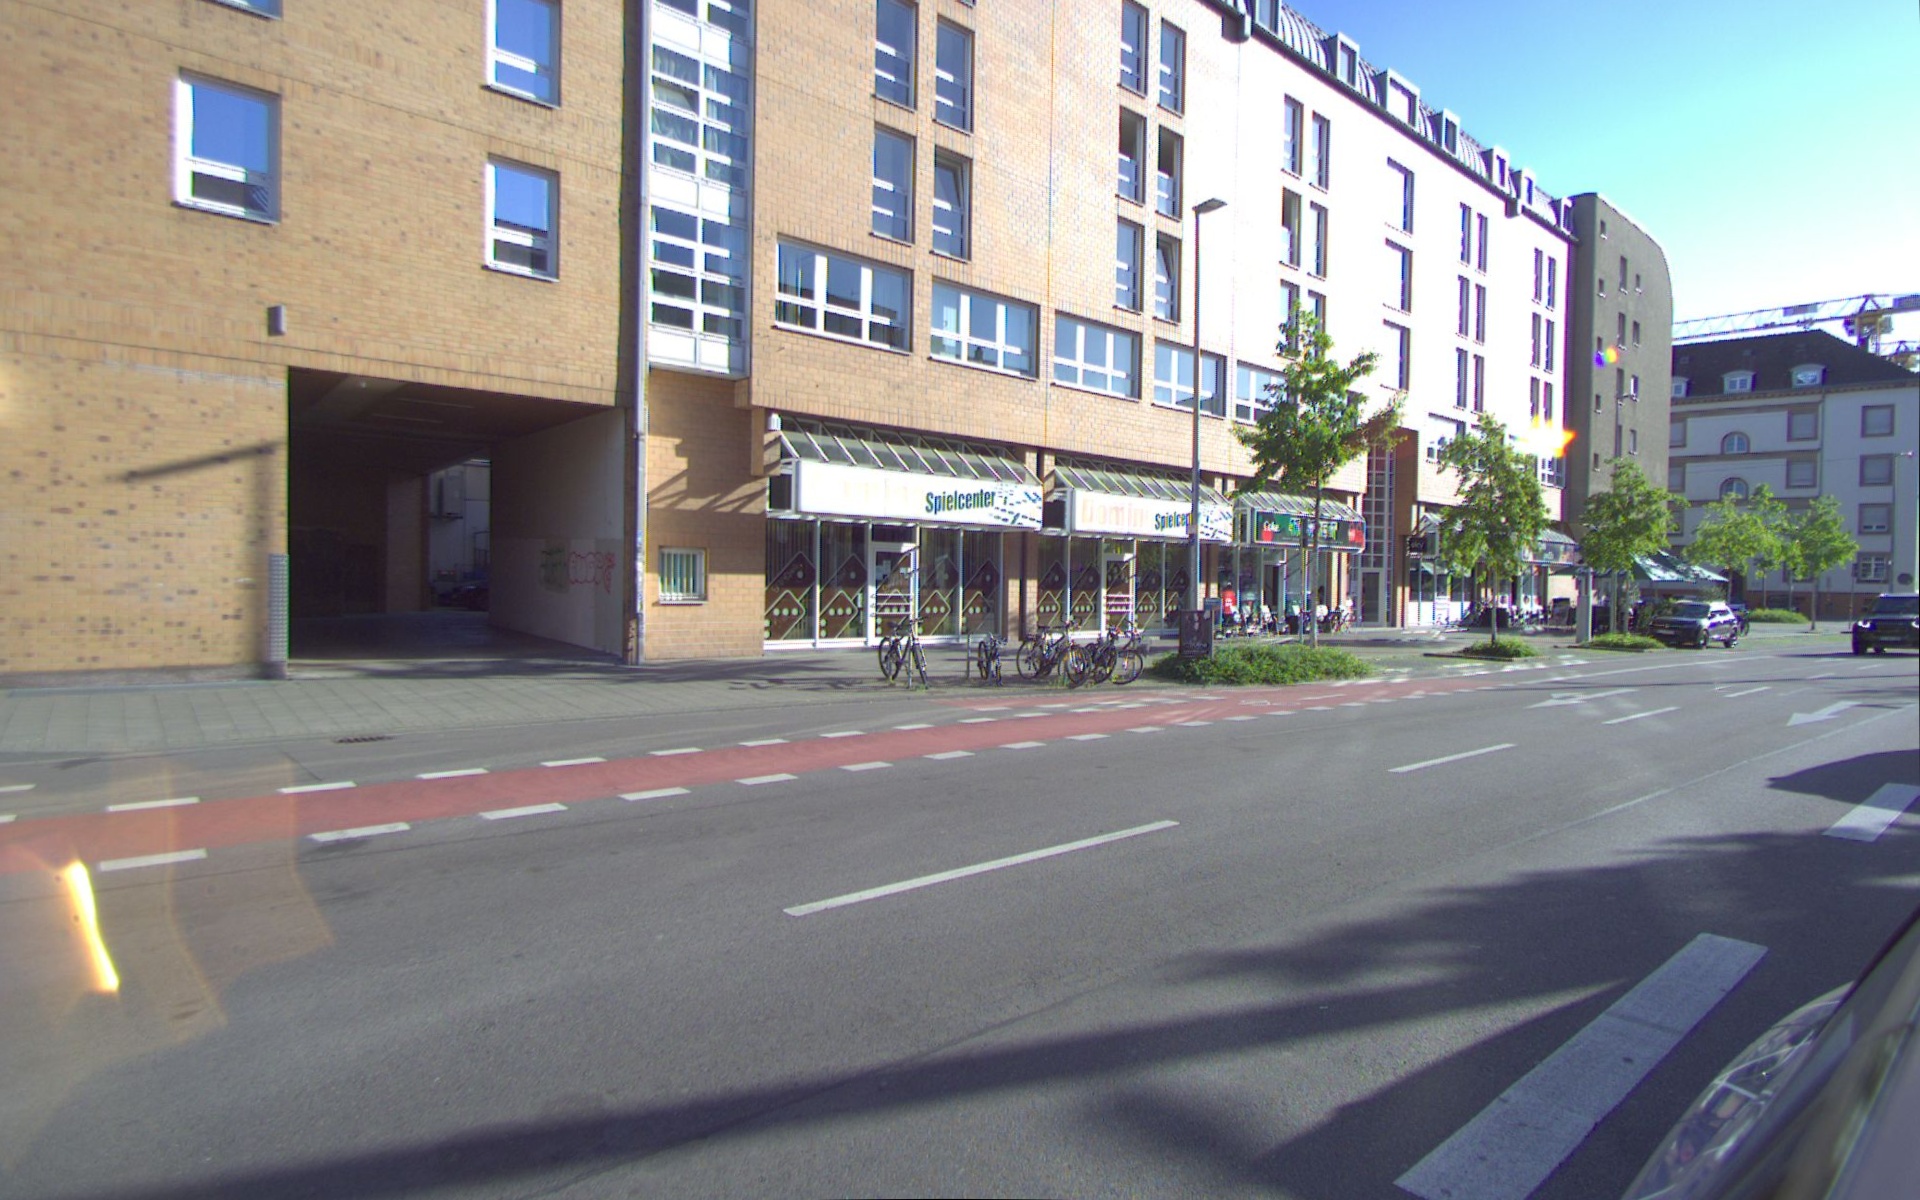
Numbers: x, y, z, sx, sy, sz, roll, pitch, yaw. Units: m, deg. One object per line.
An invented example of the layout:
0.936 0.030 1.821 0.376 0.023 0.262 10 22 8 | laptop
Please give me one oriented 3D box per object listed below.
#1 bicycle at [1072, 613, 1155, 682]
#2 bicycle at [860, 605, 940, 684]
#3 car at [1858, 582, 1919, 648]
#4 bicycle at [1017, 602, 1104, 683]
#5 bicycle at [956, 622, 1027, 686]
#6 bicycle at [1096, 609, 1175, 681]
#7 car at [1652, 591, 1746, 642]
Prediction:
2.646 0.798 17.654 0.440 0.997 1.843 0 3 -26 | bicycle
-0.988 0.678 16.272 0.423 1.089 1.776 -1 4 -35 | bicycle
29.815 0.428 31.605 4.396 1.939 2.162 0 0 -42 | car
1.671 0.689 17.141 0.553 1.177 1.843 0 3 -26 | bicycle
0.496 0.864 16.722 0.359 0.842 1.779 0 3 -26 | bicycle
3.071 0.766 17.865 0.343 1.069 1.843 0 3 -26 | bicycle
25.854 0.543 35.376 3.929 1.660 1.778 0 1 -41 | car
